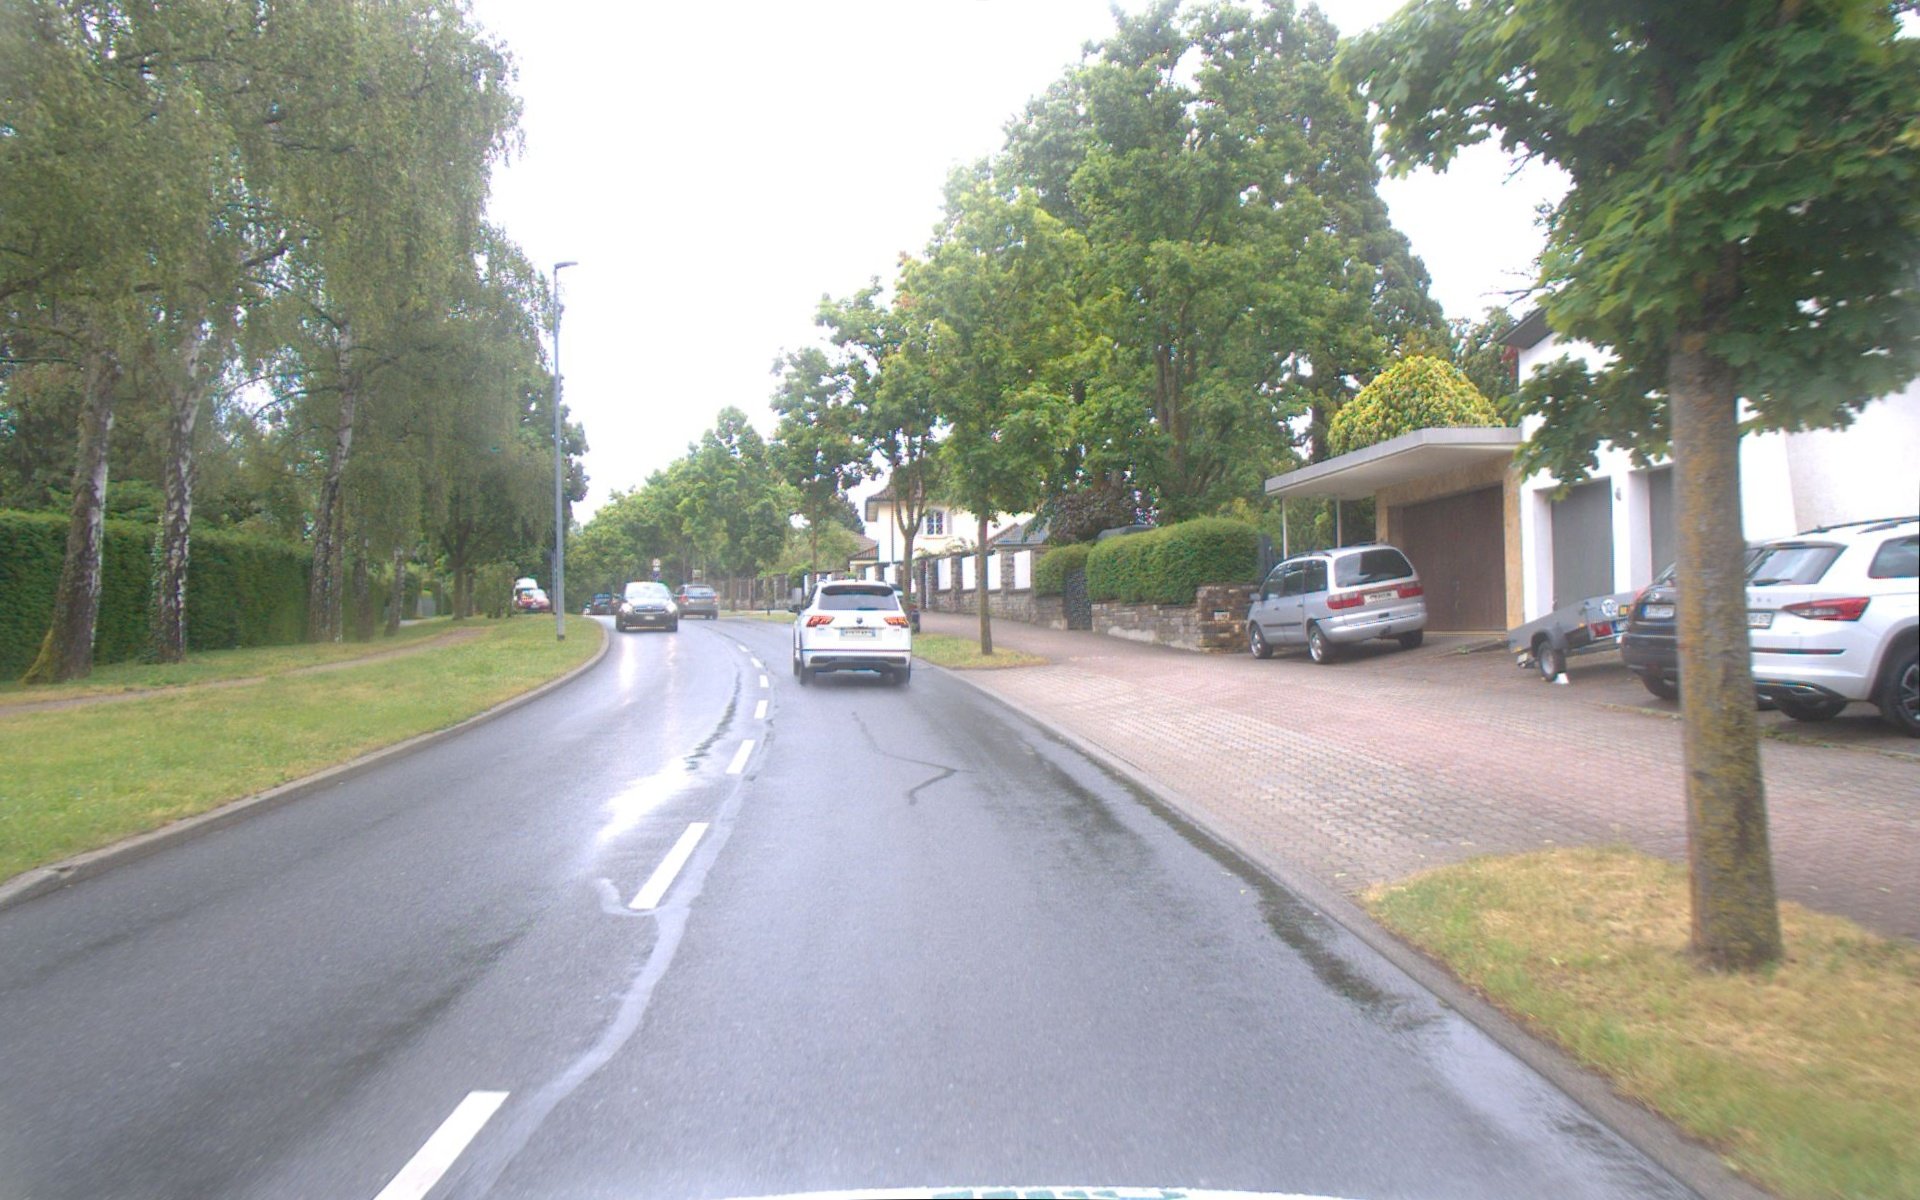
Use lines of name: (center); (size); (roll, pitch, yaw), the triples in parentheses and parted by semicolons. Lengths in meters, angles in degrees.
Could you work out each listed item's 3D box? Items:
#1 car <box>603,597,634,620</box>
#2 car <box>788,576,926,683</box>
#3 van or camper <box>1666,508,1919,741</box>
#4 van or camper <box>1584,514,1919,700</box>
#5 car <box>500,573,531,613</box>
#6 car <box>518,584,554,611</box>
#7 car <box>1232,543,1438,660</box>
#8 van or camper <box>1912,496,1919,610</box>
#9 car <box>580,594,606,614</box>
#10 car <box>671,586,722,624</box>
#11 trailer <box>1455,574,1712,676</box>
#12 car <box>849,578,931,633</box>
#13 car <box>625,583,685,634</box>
car: (-22.714, 0.541, 110.037); (1.821, 1.442, 4.210); (1, 1, -14)
car: (-1.809, 0.448, 27.870); (1.960, 1.660, 3.992); (0, 0, -9)
van or camper: (8.399, 0.059, 13.912); (3.910, 1.706, 2.121); (-5, 1, -5)
van or camper: (8.218, 0.024, 16.359); (3.340, 1.582, 1.765); (-4, 0, -10)
car: (-30.864, -0.457, 114.745); (1.962, 2.606, 5.208); (-1, 0, -16)
car: (-24.331, -0.152, 94.812); (1.814, 1.491, 4.230); (0, 0, -17)
car: (6.232, -0.005, 28.145); (1.761, 1.788, 4.934); (-1, 1, -8)
van or camper: (9.172, -0.023, 11.476); (3.934, 1.819, 1.947); (-5, 0, -2)
car: (-29.042, 0.318, 130.762); (1.821, 1.442, 4.210); (1, 1, -14)
car: (-11.346, 0.213, 71.081); (1.810, 1.513, 3.985); (1, 1, -14)
trailer: (7.445, 0.292, 20.059); (1.395, 0.936, 3.268); (-9, 1, -9)
car: (-1.987, 0.129, 46.026); (1.613, 1.401, 3.817); (-3, 1, -12)
car: (-9.413, 0.241, 51.042); (1.723, 1.466, 4.146); (1, 1, -11)
